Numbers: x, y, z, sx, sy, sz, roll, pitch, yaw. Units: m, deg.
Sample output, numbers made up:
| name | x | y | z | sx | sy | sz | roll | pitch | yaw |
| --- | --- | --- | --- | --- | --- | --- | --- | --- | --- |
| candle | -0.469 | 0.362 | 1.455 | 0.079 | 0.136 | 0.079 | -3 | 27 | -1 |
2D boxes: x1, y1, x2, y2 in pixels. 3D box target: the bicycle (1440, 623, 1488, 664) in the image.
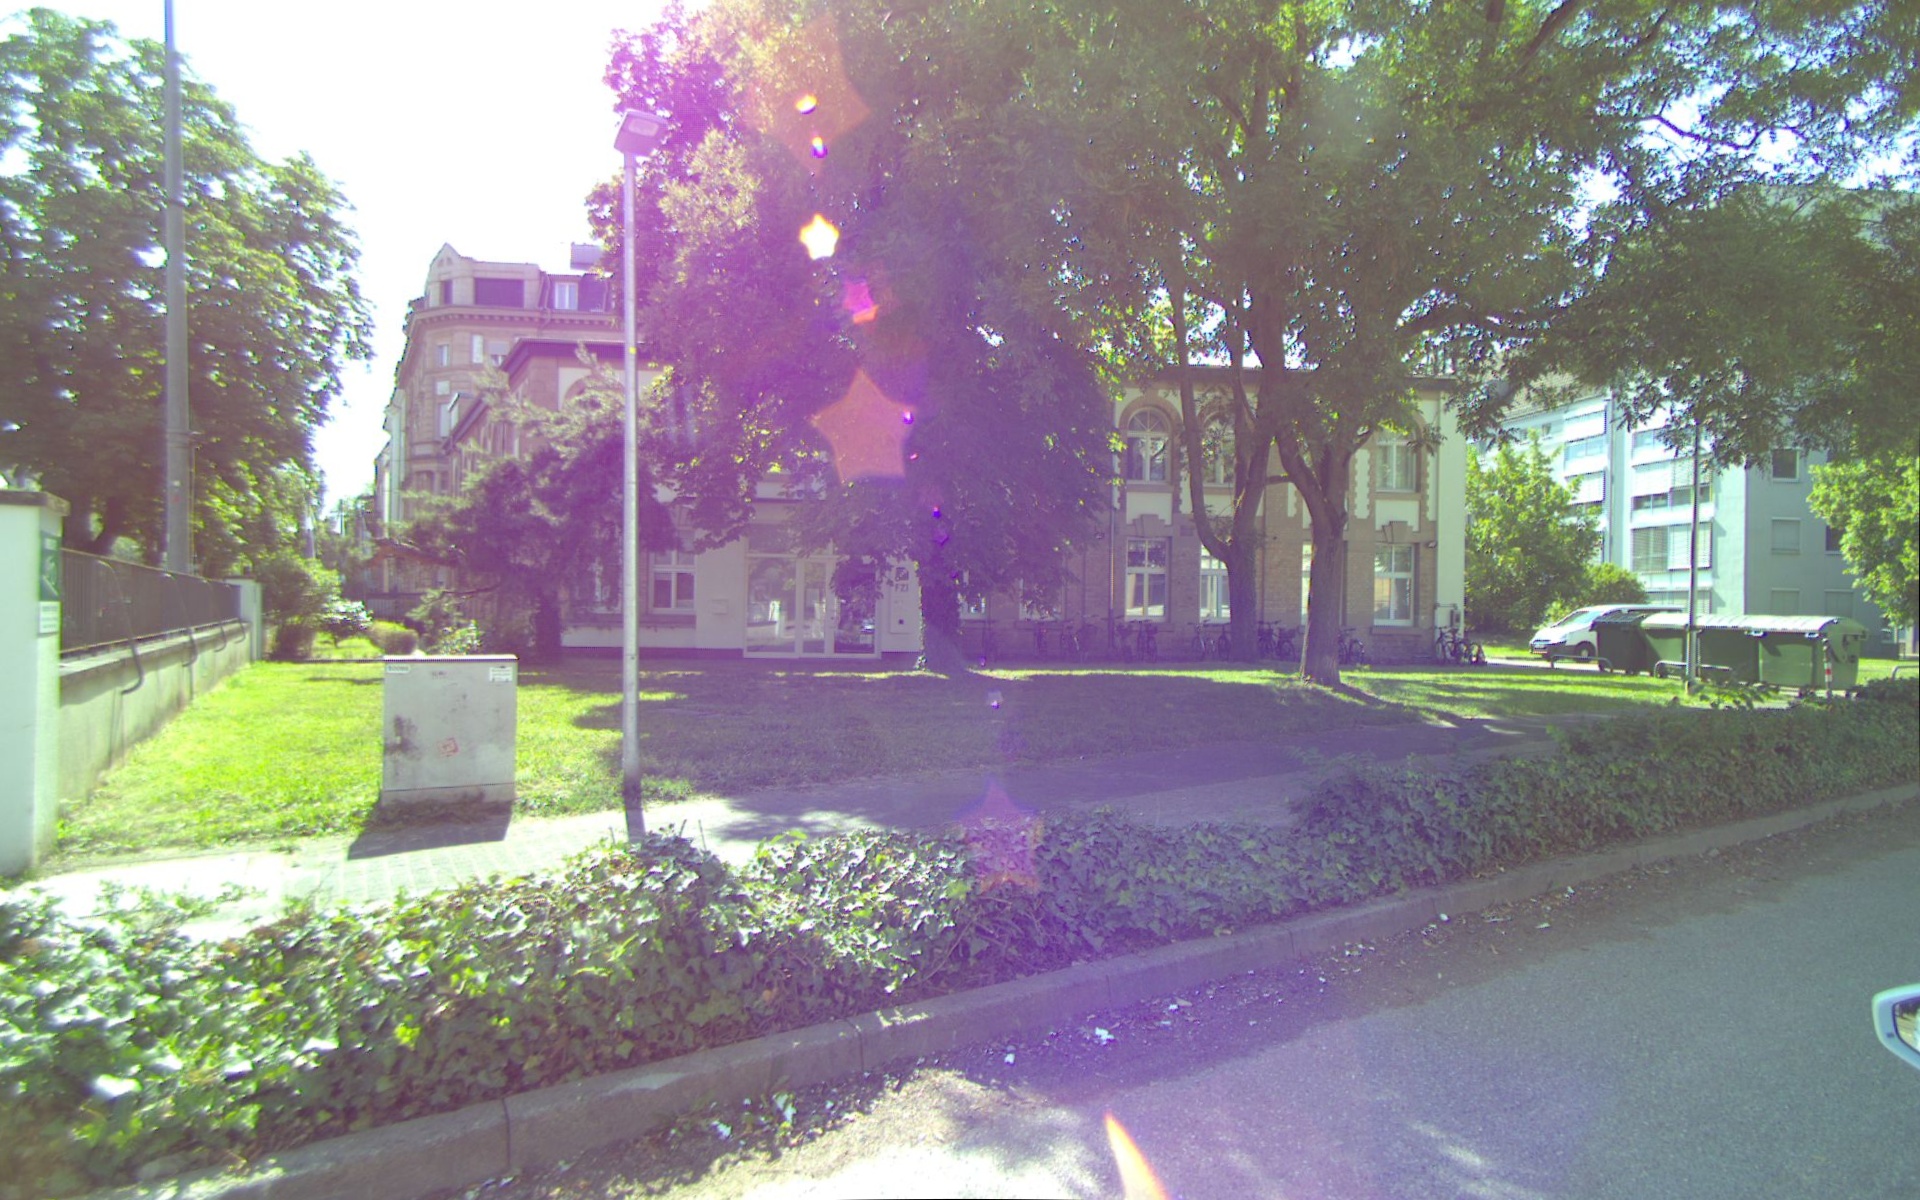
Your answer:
| name | x | y | z | sx | sy | sz | roll | pitch | yaw |
| --- | --- | --- | --- | --- | --- | --- | --- | --- | --- |
| bicycle | 13.338 | 1.148 | 26.623 | 0.437 | 1.006 | 1.540 | 0 | 1 | -2 |

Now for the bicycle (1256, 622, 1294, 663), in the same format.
| name | x | y | z | sx | sy | sz | roll | pitch | yaw |
| --- | --- | --- | --- | --- | --- | --- | --- | --- | --- |
| bicycle | 8.125 | 1.084 | 25.973 | 0.437 | 1.006 | 1.540 | 0 | 1 | -2 |

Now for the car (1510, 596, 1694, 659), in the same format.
| name | x | y | z | sx | sy | sz | roll | pitch | yaw |
| --- | --- | --- | --- | --- | --- | --- | --- | --- | --- |
| car | 21.341 | 0.890 | 33.494 | 4.943 | 1.959 | 1.999 | 1 | 0 | -4 |

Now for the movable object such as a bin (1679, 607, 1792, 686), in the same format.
| name | x | y | z | sx | sy | sz | roll | pitch | yaw |
| --- | --- | --- | --- | --- | --- | --- | --- | --- | --- |
| movable object such as a bin | 14.764 | 0.864 | 19.152 | 1.228 | 1.450 | 1.219 | 1 | 0 | -16 |

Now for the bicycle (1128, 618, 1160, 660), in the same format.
| name | x | y | z | sx | sy | sz | roll | pitch | yaw |
| --- | --- | --- | --- | --- | --- | --- | --- | --- | --- |
| bicycle | 4.669 | 0.986 | 25.610 | 0.437 | 1.006 | 1.540 | 0 | 1 | -4 |

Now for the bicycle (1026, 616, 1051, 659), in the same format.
| name | x | y | z | sx | sy | sz | roll | pitch | yaw |
| --- | --- | --- | --- | --- | --- | --- | --- | --- | --- |
| bicycle | 1.967 | 0.926 | 25.266 | 0.437 | 1.006 | 1.540 | 0 | 1 | -2 |

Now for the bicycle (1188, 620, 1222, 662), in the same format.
| name | x | y | z | sx | sy | sz | roll | pitch | yaw |
| --- | --- | --- | --- | --- | --- | --- | --- | --- | --- |
| bicycle | 6.269 | 1.023 | 25.719 | 0.437 | 1.006 | 1.540 | 0 | 1 | -2 |

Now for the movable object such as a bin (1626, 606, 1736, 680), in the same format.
| name | x | y | z | sx | sy | sz | roll | pitch | yaw |
| --- | --- | --- | --- | --- | --- | --- | --- | --- | --- |
| movable object such as a bin | 14.717 | 0.858 | 20.540 | 1.225 | 1.450 | 1.365 | 1 | 0 | -5 |

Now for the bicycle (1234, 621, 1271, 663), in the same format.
| name | x | y | z | sx | sy | sz | roll | pitch | yaw |
| --- | --- | --- | --- | --- | --- | --- | --- | --- | --- |
| bicycle | 7.537 | 1.066 | 25.920 | 0.437 | 1.006 | 1.540 | 0 | 1 | -2 |

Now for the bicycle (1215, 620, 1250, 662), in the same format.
| name | x | y | z | sx | sy | sz | roll | pitch | yaw |
| --- | --- | --- | --- | --- | --- | --- | --- | --- | --- |
| bicycle | 6.996 | 1.041 | 25.870 | 0.437 | 1.006 | 1.540 | 0 | 1 | -2 |

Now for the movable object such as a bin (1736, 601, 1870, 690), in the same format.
| name | x | y | z | sx | sy | sz | roll | pitch | yaw |
| --- | --- | --- | --- | --- | --- | --- | --- | --- | --- |
| movable object such as a bin | 14.854 | 0.782 | 17.747 | 1.226 | 1.501 | 1.336 | 1 | 0 | -10 |

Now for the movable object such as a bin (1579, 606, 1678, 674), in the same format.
| name | x | y | z | sx | sy | sz | roll | pitch | yaw |
| --- | --- | --- | --- | --- | --- | --- | --- | --- | --- |
| movable object such as a bin | 14.638 | 0.860 | 22.049 | 1.225 | 1.450 | 1.349 | 1 | 0 | -5 |

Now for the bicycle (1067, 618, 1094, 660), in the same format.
| name | x | y | z | sx | sy | sz | roll | pitch | yaw |
| --- | --- | --- | --- | --- | --- | --- | --- | --- | --- |
| bicycle | 3.047 | 0.975 | 25.434 | 0.437 | 1.006 | 1.540 | 0 | 1 | -2 |

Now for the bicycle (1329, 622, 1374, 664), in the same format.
| name | x | y | z | sx | sy | sz | roll | pitch | yaw |
| --- | --- | --- | --- | --- | --- | --- | --- | --- | --- |
| bicycle | 10.137 | 1.104 | 26.048 | 0.437 | 1.006 | 1.685 | 0 | 0 | -2 |

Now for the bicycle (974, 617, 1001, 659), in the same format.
| name | x | y | z | sx | sy | sz | roll | pitch | yaw |
| --- | --- | --- | --- | --- | --- | --- | --- | --- | --- |
| bicycle | 0.674 | 0.949 | 25.202 | 0.437 | 1.005 | 1.539 | 2 | -1 | -6 |

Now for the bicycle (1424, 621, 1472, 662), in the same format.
| name | x | y | z | sx | sy | sz | roll | pitch | yaw |
| --- | --- | --- | --- | --- | --- | --- | --- | --- | --- |
| bicycle | 12.866 | 1.070 | 26.525 | 0.437 | 1.006 | 1.630 | 0 | 0 | -2 |

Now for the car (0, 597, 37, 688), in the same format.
| name | x | y | z | sx | sy | sz | roll | pitch | yaw |
| --- | --- | --- | --- | --- | --- | --- | --- | --- | --- |
| car | -16.827 | 0.713 | 16.485 | 1.714 | 1.496 | 3.965 | 0 | 1 | -32 |

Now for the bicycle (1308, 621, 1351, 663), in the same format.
| name | x | y | z | sx | sy | sz | roll | pitch | yaw |
| --- | --- | --- | --- | --- | --- | --- | --- | --- | --- |
| bicycle | 9.570 | 1.072 | 26.062 | 0.437 | 1.006 | 1.666 | 0 | 0 | -2 |

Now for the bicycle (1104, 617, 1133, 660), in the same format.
| name | x | y | z | sx | sy | sz | roll | pitch | yaw |
| --- | --- | --- | --- | --- | --- | --- | --- | --- | --- |
| bicycle | 4.016 | 0.963 | 25.448 | 0.437 | 1.006 | 1.540 | 0 | 1 | -2 |

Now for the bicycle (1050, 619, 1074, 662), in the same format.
| name | x | y | z | sx | sy | sz | roll | pitch | yaw |
| --- | --- | --- | --- | --- | --- | --- | --- | --- | --- |
| bicycle | 2.574 | 1.007 | 25.388 | 0.367 | 1.002 | 1.599 | 1 | 0 | -2 |
